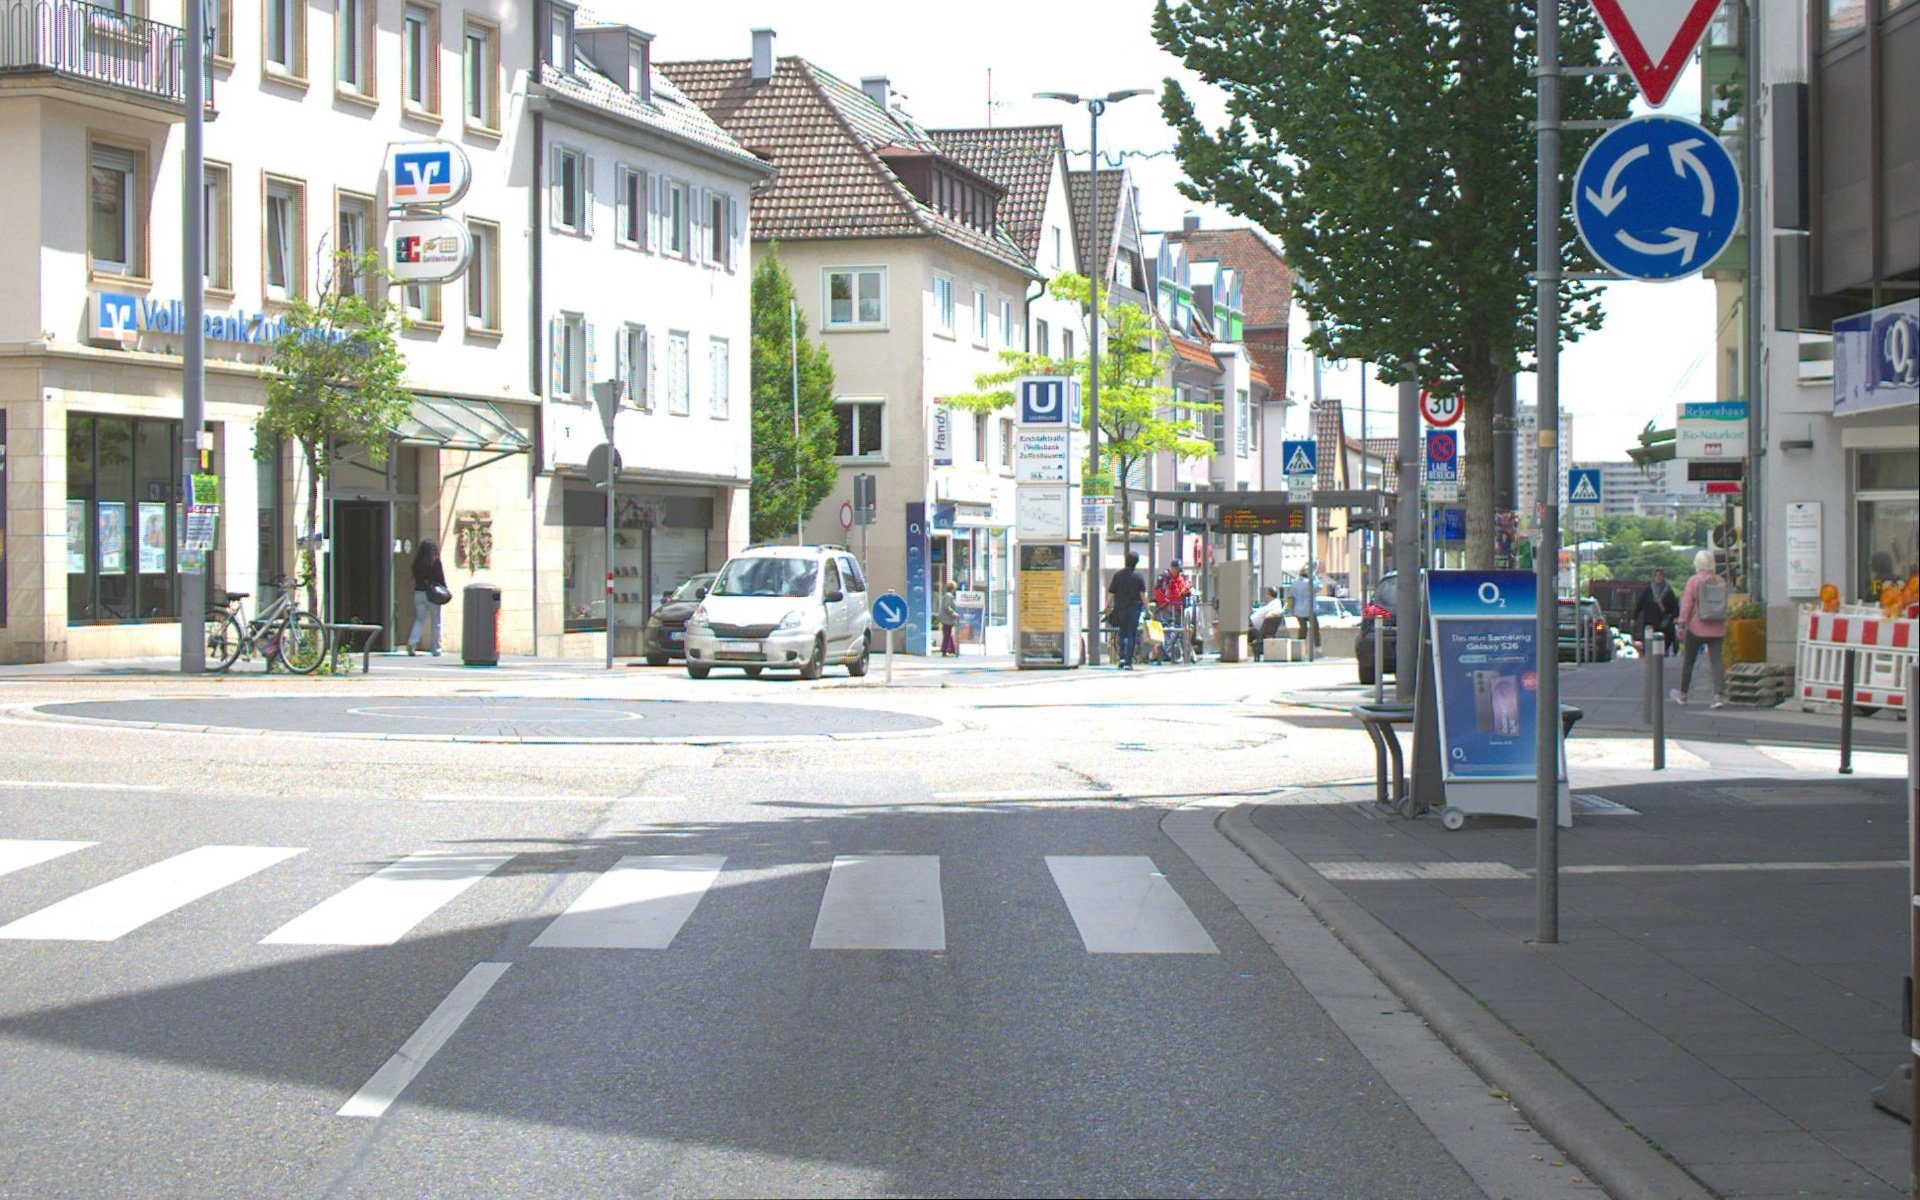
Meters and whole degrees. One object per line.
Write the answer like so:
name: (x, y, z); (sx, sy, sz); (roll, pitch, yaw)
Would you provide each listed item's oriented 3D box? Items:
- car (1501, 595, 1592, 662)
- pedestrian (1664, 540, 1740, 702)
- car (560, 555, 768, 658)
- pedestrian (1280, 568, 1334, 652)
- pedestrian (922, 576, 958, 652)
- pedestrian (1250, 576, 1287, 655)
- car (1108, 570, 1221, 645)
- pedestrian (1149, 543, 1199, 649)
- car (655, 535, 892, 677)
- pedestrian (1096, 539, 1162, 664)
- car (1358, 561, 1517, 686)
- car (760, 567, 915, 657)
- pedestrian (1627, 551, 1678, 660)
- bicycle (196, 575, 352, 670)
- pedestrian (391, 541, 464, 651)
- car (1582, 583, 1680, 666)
car: (15.101, 0.714, 88.664); (1.949, 1.634, 3.999); (1, 1, 5)
pedestrian: (7.849, 0.214, 36.368); (0.621, 1.684, 0.652); (1, 0, -1)
car: (-4.417, 0.084, 51.921); (1.995, 1.448, 3.998); (1, 1, 13)
pedestrian: (6.616, 0.190, 65.498); (0.729, 1.574, 0.747); (1, 1, 35)
pedestrian: (-0.421, 0.290, 73.401); (0.693, 1.605, 0.644); (1, 0, 4)
pedestrian: (5.221, 0.261, 58.164); (0.591, 1.312, 0.591); (1, 0, 5)
car: (4.669, 0.156, 77.888); (1.876, 1.618, 3.998); (1, 1, 13)
pedestrian: (3.583, -0.071, 57.570); (0.727, 1.757, 0.748); (1, 1, 10)
car: (-2.307, 0.057, 43.710); (1.994, 1.683, 3.998); (1, 1, 12)
pedestrian: (2.335, 0.015, 47.471); (0.869, 1.702, 0.531); (1, 0, 2)
car: (6.256, 0.282, 44.798); (1.698, 1.525, 3.469); (1, 1, 13)
car: (-2.187, 0.201, 62.684); (1.846, 1.539, 3.998); (1, 1, 13)
pedestrian: (10.806, 0.079, 53.649); (0.621, 1.684, 0.652); (1, 0, -1)
bicycle: (-7.779, 0.247, 38.983); (1.633, 1.027, 0.567); (1, 1, 15)
pedestrian: (-7.522, -0.062, 48.568); (0.627, 1.527, 0.857); (1, 1, 23)
car: (13.060, 0.456, 66.798); (1.698, 1.525, 3.469); (1, 1, 13)
